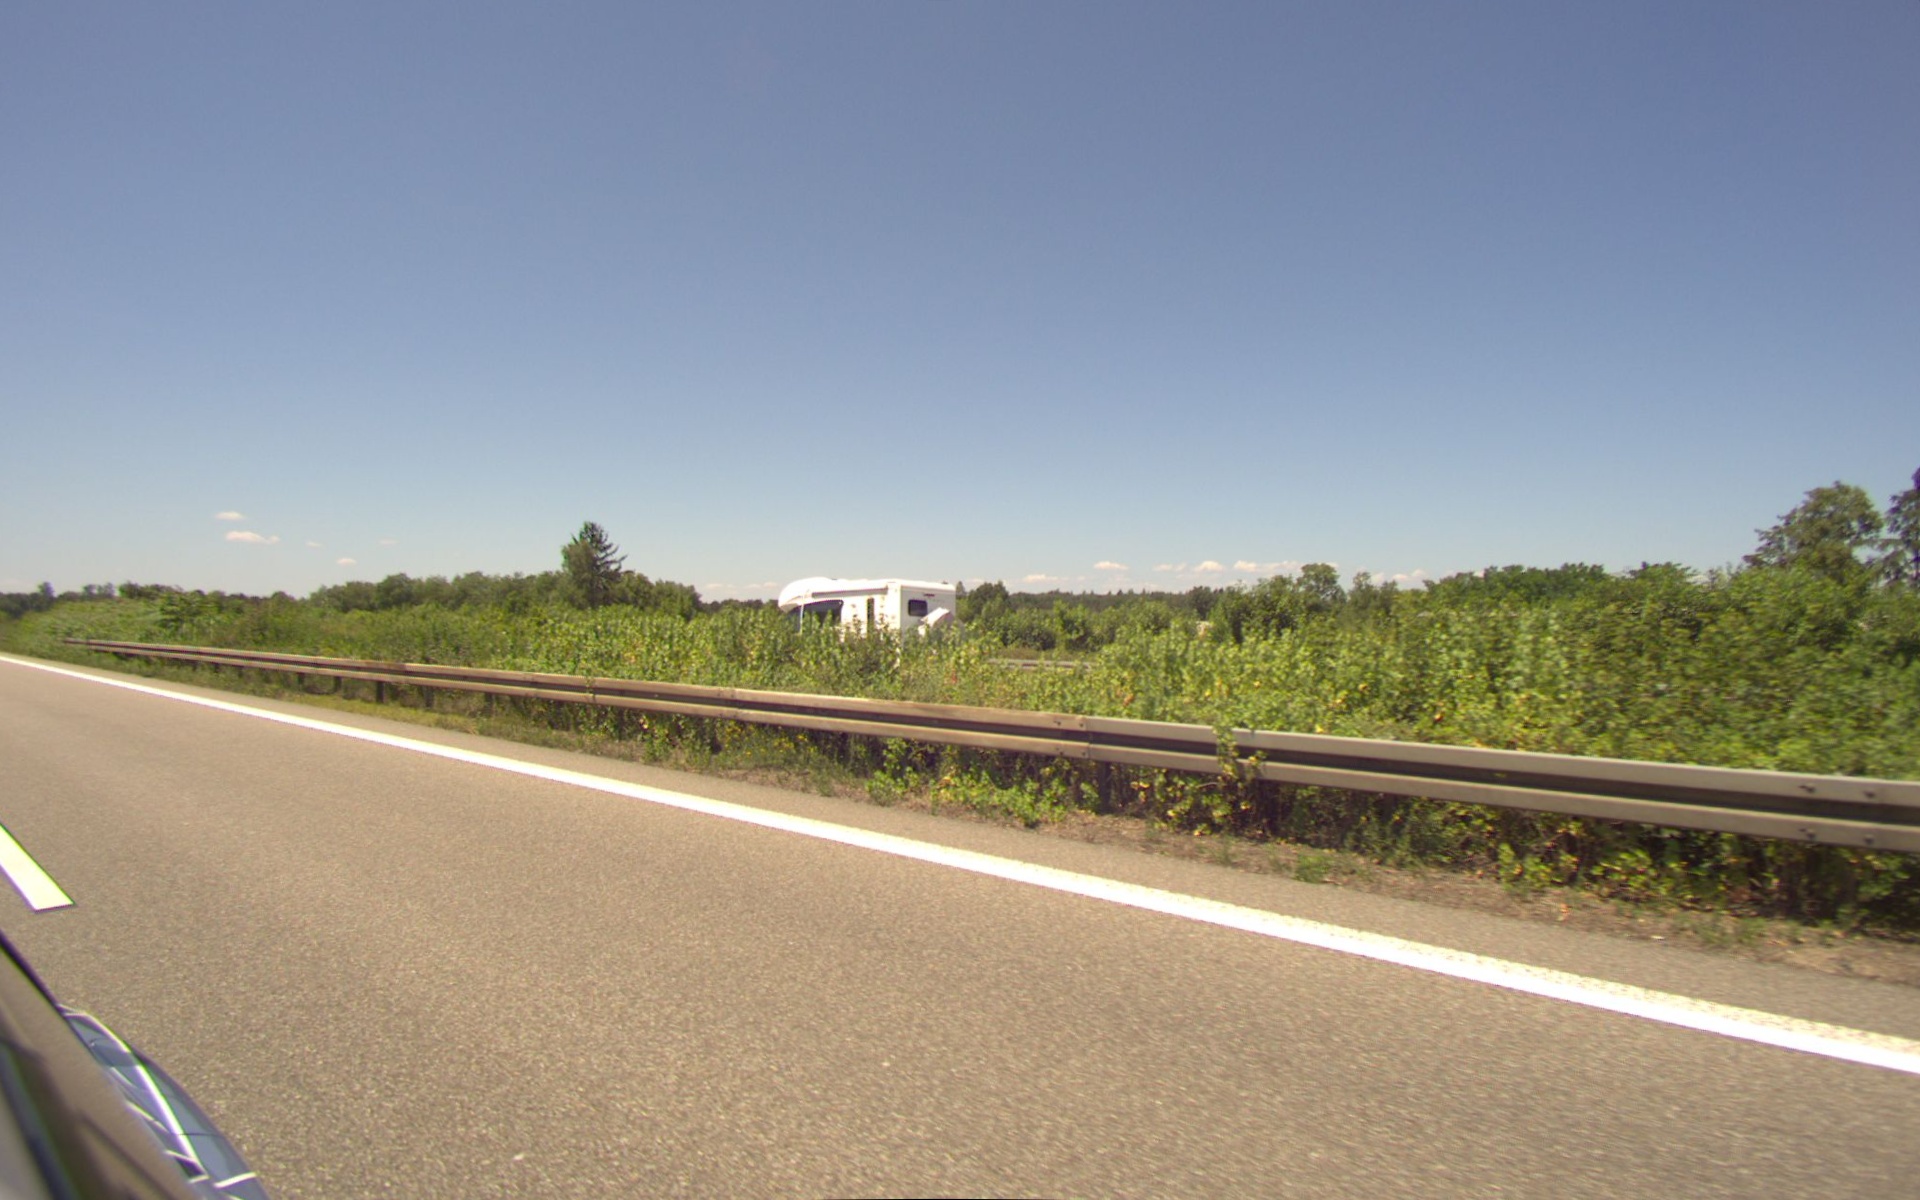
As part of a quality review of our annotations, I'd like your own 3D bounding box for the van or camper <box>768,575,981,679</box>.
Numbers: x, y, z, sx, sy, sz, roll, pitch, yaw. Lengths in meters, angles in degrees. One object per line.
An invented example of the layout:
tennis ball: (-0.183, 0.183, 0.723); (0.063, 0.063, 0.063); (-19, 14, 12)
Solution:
van or camper: (-2.487, 0.695, 27.802); (6.295, 2.564, 1.973); (-1, 0, 41)
